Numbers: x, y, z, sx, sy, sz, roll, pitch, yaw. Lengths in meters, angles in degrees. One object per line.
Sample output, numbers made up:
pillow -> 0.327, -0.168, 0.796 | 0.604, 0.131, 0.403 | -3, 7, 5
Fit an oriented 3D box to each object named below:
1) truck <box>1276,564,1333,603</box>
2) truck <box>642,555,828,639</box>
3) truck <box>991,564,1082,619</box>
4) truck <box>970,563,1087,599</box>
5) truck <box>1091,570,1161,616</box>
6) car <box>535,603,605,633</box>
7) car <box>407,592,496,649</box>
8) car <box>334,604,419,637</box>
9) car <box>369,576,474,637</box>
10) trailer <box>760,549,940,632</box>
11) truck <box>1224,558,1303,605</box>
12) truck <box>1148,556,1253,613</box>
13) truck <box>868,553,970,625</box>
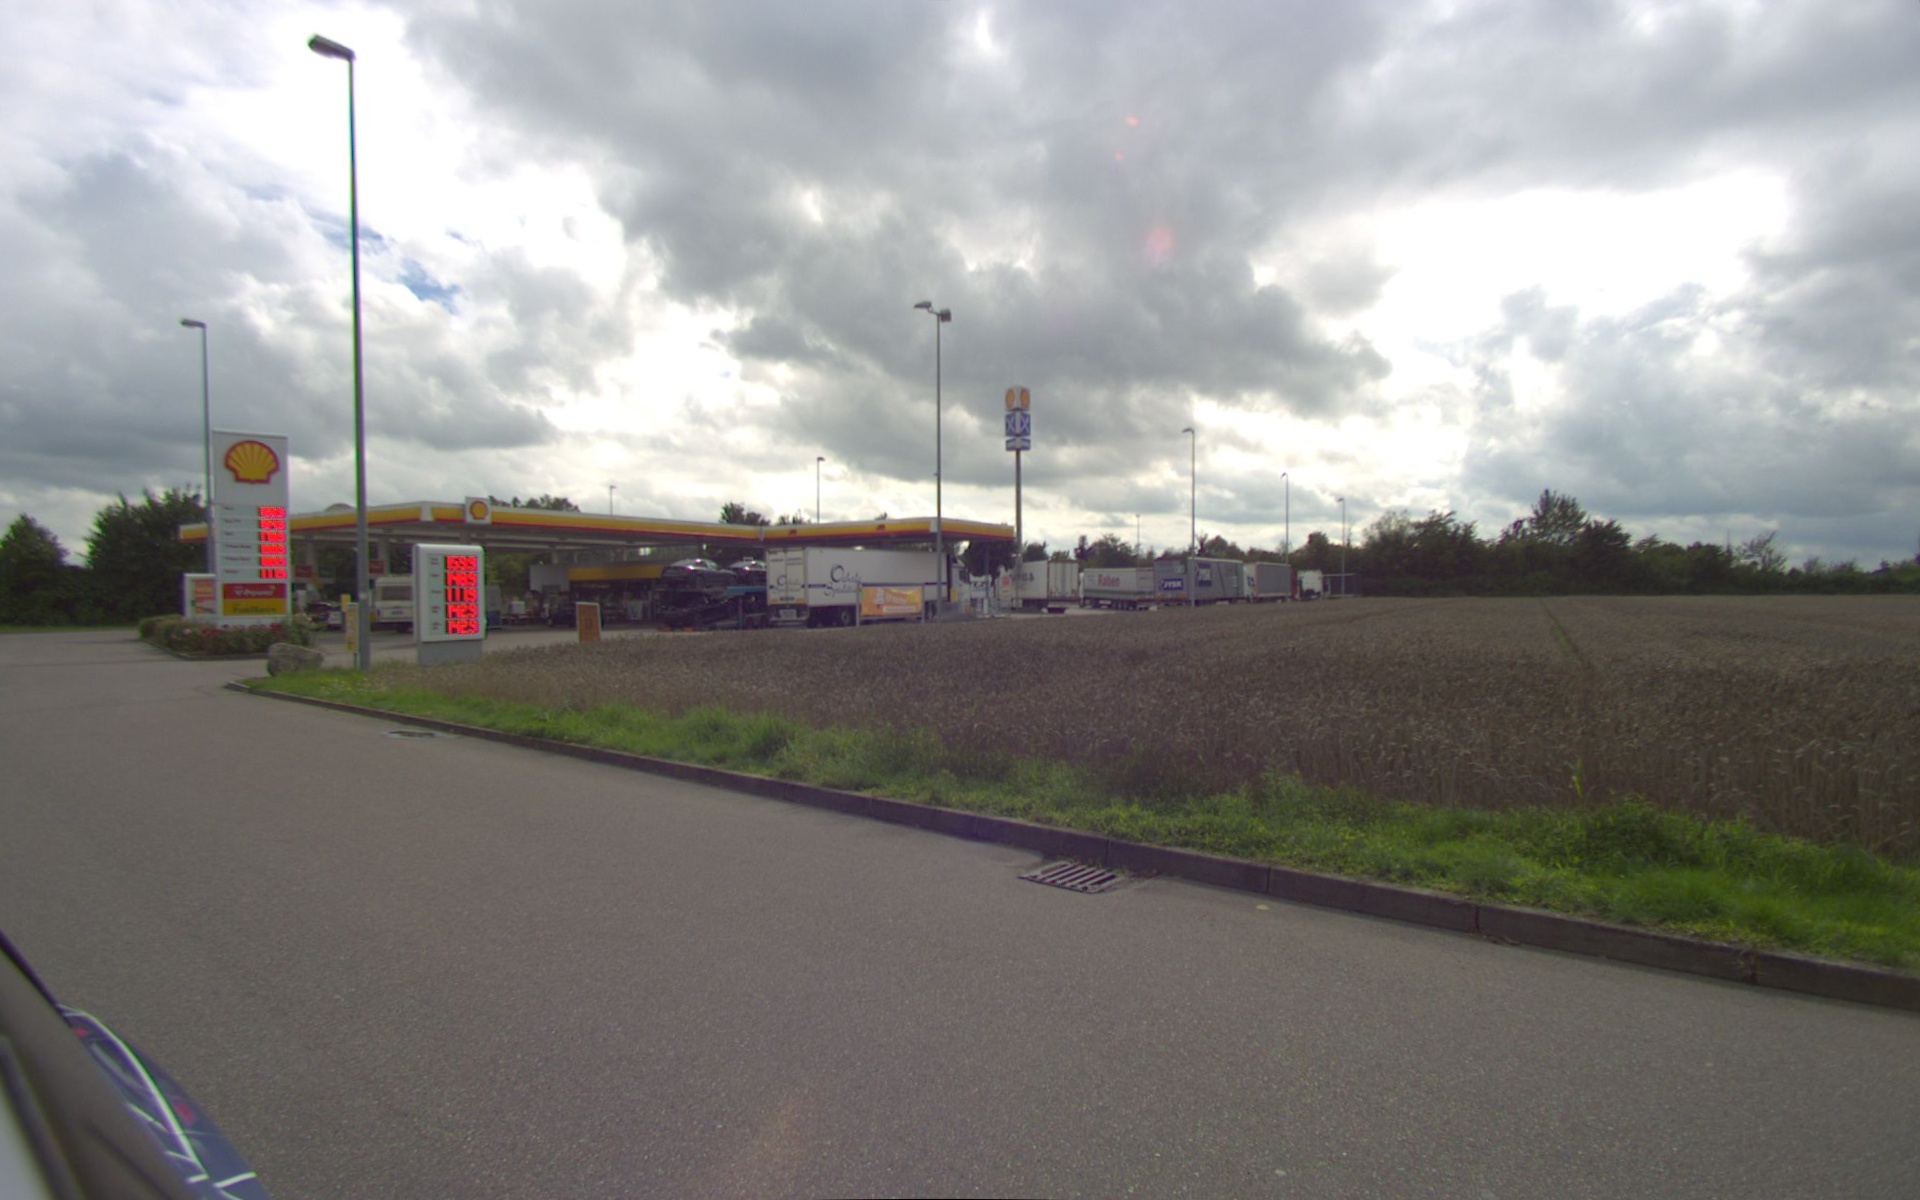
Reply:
truck -> 36.777, -1.702, 107.736 | 2.816, 3.922, 12.667 | 0, 1, 33
truck -> -11.623, -0.195, 54.472 | 2.734, 3.953, 13.158 | 0, 1, 22
truck -> 6.023, -0.719, 83.692 | 2.913, 4.143, 14.790 | 0, 1, -15
truck -> 7.635, -2.162, 112.903 | 12.796, 3.922, 2.832 | 0, 0, -13
truck -> 16.052, -0.608, 99.111 | 2.946, 4.142, 11.600 | -1, 0, -11
car -> -22.567, 1.037, 58.506 | 3.742, 1.613, 1.701 | -1, 0, 27
car -> -19.580, 0.769, 39.148 | 1.769, 2.027, 3.886 | -1, -1, -6
car -> -29.929, 1.035, 52.061 | 1.974, 1.571, 3.957 | -1, 0, 3
car -> -26.600, 0.301, 50.285 | 2.192, 2.808, 5.810 | -1, 0, -1
trailer -> -5.587, -0.499, 55.218 | 2.702, 4.055, 12.715 | -1, 0, 30
truck -> 27.893, -1.638, 92.245 | 2.816, 3.922, 15.289 | 0, 1, 33
truck -> 18.371, -1.152, 76.150 | 2.816, 3.922, 15.289 | 0, 1, 33
truck -> -2.341, -0.651, 60.841 | 2.702, 4.055, 7.095 | -1, 0, 30
